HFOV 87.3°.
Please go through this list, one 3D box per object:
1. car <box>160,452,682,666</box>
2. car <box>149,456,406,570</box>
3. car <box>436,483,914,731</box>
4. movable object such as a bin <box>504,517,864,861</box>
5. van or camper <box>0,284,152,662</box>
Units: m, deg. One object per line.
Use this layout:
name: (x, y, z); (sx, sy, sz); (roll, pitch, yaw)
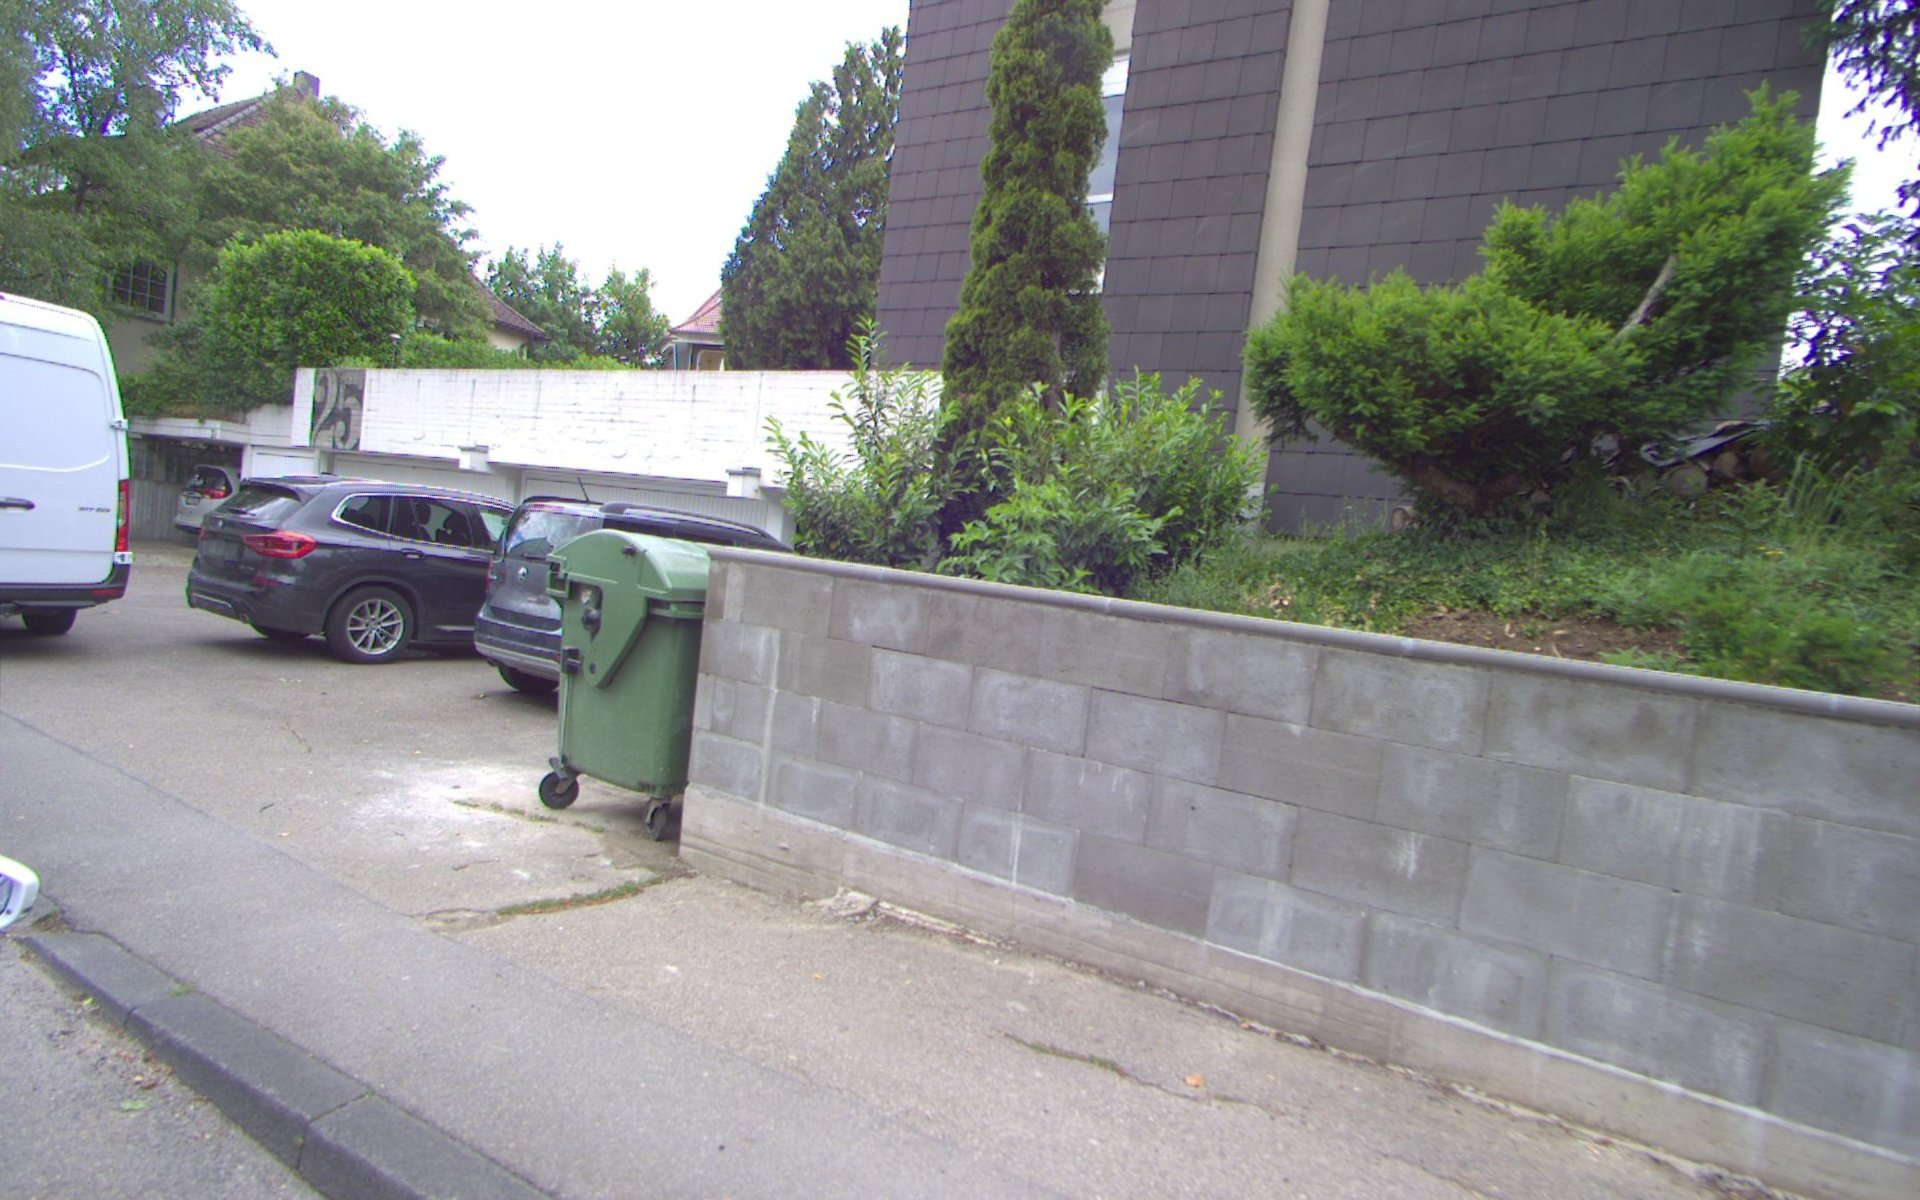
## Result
car: (-5.278, -0.314, 10.486); (1.800, 1.674, 4.394); (8, 2, 33)
car: (-14.417, -1.789, 21.489); (1.936, 1.732, 3.994); (8, 0, 29)
car: (-2.360, 0.081, 9.160); (1.800, 1.674, 3.796); (8, 2, 35)
movable object such as a bin: (-1.427, 0.395, 5.337); (1.161, 1.470, 1.300); (7, 3, 31)
van or camper: (-9.500, -1.233, 8.606); (6.251, 2.665, 1.963); (8, 4, 31)
